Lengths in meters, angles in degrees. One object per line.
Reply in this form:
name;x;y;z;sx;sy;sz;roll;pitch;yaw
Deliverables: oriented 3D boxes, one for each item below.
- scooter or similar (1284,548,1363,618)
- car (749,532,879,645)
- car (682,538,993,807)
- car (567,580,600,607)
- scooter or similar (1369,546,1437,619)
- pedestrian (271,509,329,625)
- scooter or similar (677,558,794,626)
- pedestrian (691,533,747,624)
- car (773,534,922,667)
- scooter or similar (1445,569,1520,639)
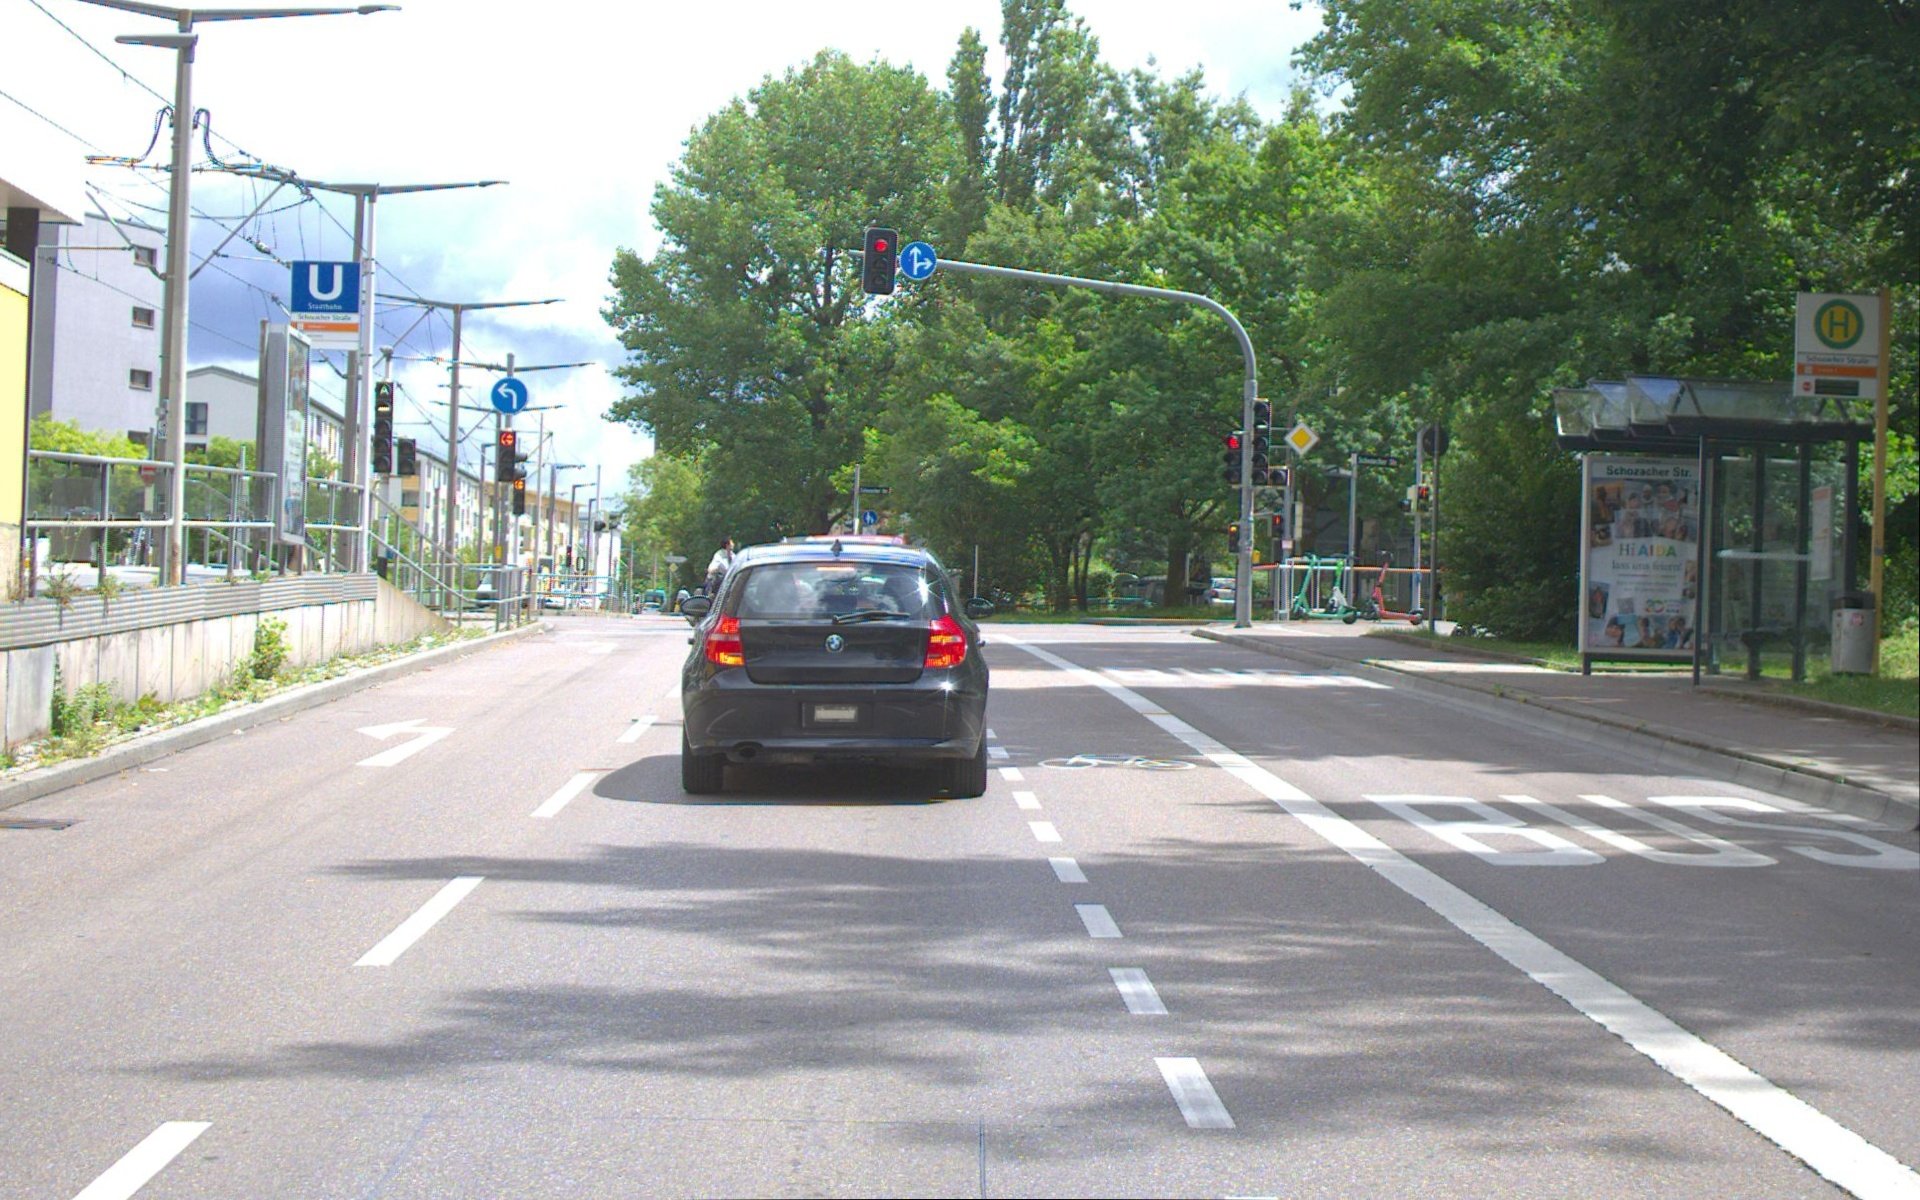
scooter or similar;6.211;-0.293;58.717;1.287;1.185;0.385;0;1;-17
car;-1.970;-0.181;45.867;1.654;1.414;3.517;1;1;-3
car;-0.651;0.360;20.203;1.654;1.414;3.517;1;1;0
car;-24.130;-0.420;220.443;1.966;1.590;4.001;1;1;-4
scooter or similar;7.687;-0.299;59.605;1.106;1.253;0.332;0;1;-13
pedestrian;-9.304;-0.467;48.479;0.701;1.627;0.638;0;1;-1
scooter or similar;-3.534;-0.129;54.154;1.780;1.047;0.410;0;1;-16
pedestrian;-3.833;-0.345;54.719;0.865;1.437;0.799;1;1;-2
car;-1.248;-0.029;39.150;1.594;1.414;3.517;1;1;-1
scooter or similar;8.263;0.069;54.365;1.148;1.095;0.332;1;1;-25
